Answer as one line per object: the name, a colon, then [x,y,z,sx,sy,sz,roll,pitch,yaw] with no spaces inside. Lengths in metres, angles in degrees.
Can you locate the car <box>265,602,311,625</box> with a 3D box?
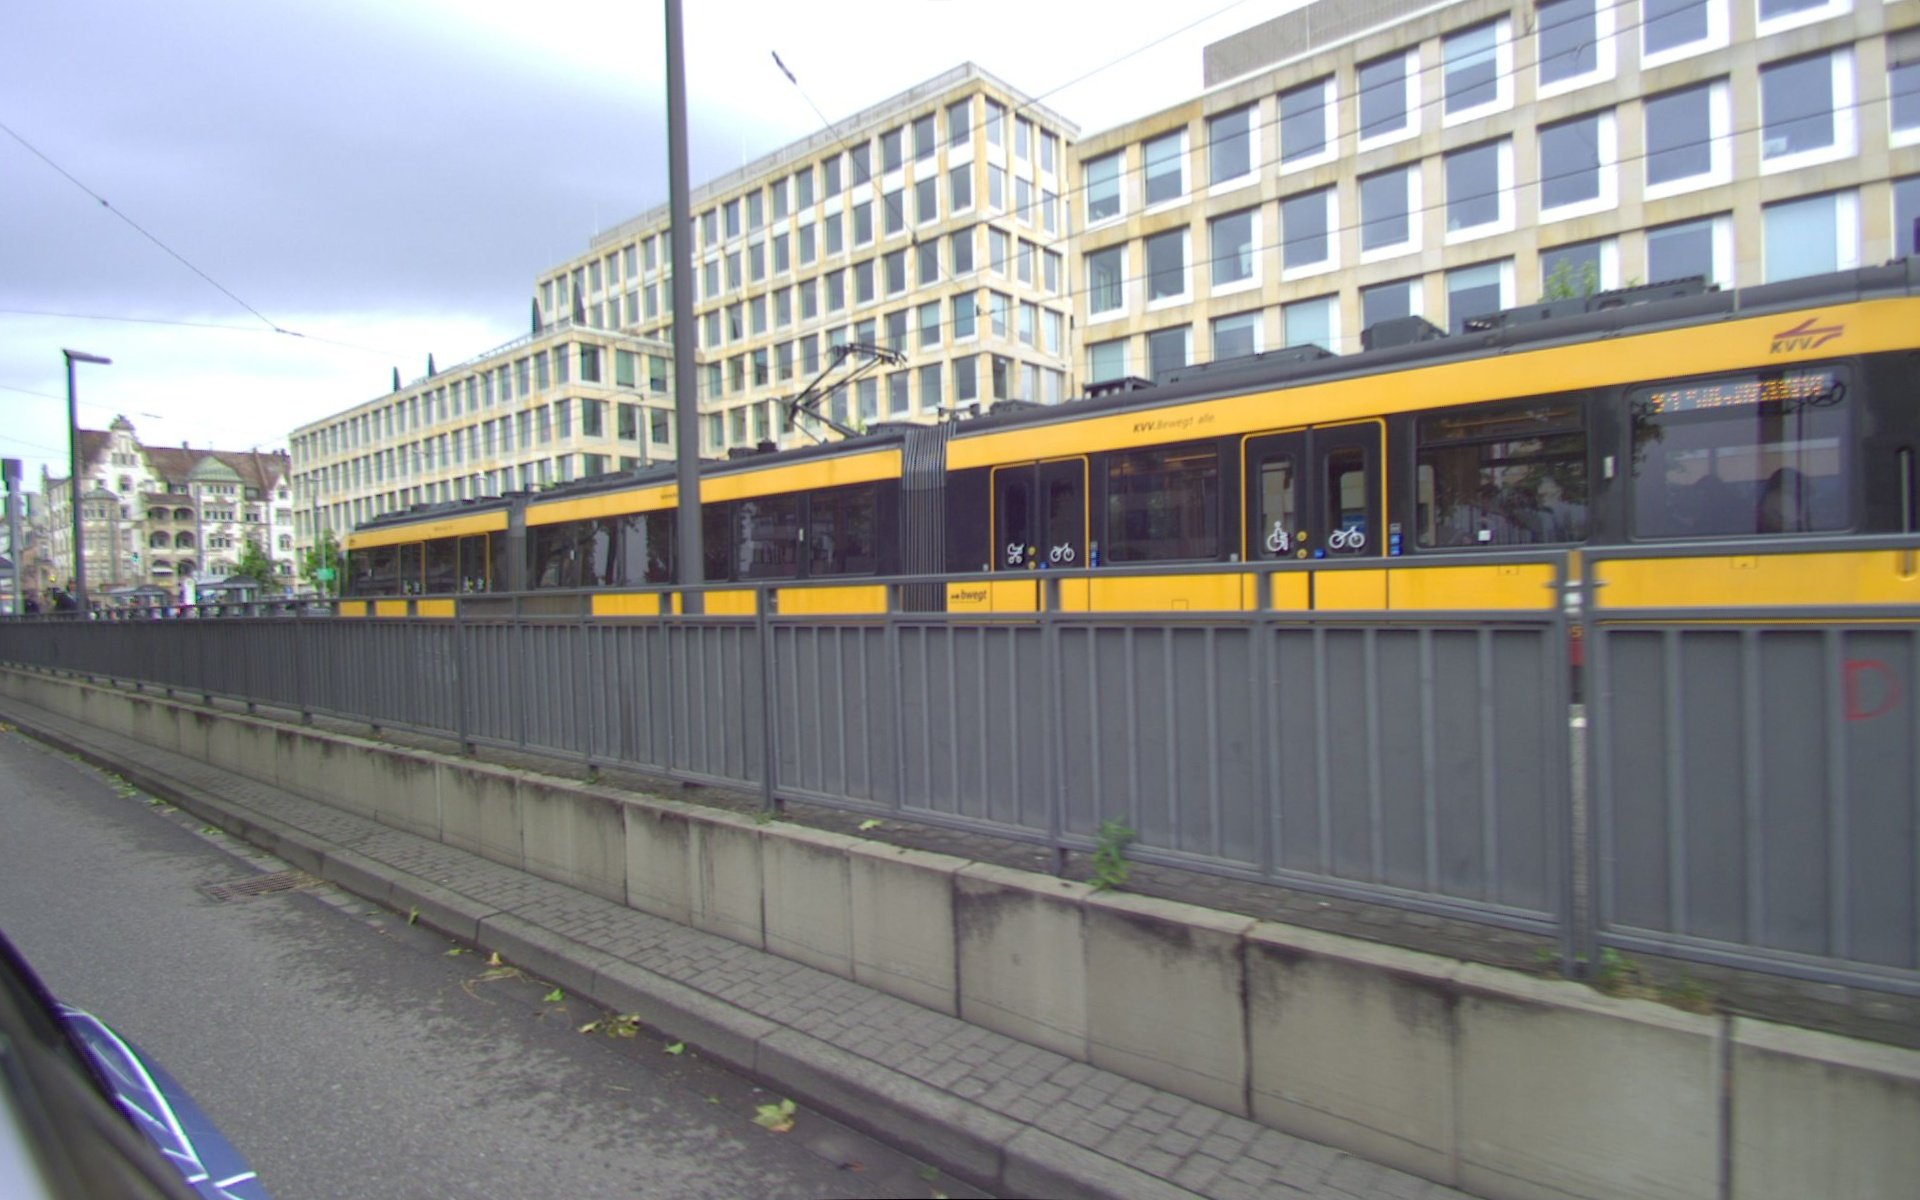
car: [-51.662,1.008,77.770,4.000,1.674,1.972,0,1,43]

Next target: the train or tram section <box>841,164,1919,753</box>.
train or tram section: [4.460,-1.016,11.440,13.613,4.210,3.148,0,1,41]

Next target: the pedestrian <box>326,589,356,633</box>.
pedestrian: [-25.725,0.459,42.063,1.159,1.809,0.704,-1,1,39]

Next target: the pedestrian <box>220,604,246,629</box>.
pedestrian: [-41.043,0.922,57.148,0.939,1.382,1.027,-1,1,43]

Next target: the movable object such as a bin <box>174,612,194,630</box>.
movable object such as a bin: [-45.298,1.229,59.073,0.714,1.029,0.620,-1,1,7]

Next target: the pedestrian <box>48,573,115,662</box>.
pedestrian: [-20.815,0.393,23.979,0.839,2.029,1.048,-1,1,40]

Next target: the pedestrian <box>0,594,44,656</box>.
pedestrian: [-27.862,0.729,30.051,1.109,1.807,0.665,-1,1,32]

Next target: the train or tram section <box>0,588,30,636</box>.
train or tram section: [-80.846,1.013,84.497,13.508,3.719,2.826,-1,1,40]

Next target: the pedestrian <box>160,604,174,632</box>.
pedestrian: [-46.633,1.074,59.512,0.529,1.619,0.566,-2,1,-43]

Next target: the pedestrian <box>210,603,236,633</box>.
pedestrian: [-42.413,1.010,58.213,0.939,1.699,1.027,-1,1,43]

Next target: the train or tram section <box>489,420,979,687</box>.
train or tram section: [-4.996,-0.686,19.657,11.305,3.891,3.131,0,1,41]

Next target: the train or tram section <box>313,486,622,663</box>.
train or tram section: [-13.568,-0.558,27.111,11.305,3.891,3.204,0,1,41]

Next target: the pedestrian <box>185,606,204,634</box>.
pedestrian: [-45.109,1.165,59.660,0.649,1.619,0.578,-1,1,7]

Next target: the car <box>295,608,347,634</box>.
car: [-43.785,1.412,69.302,4.000,1.674,1.972,0,1,43]

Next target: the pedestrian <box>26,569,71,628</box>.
pedestrian: [-28.348,-0.044,31.461,1.108,1.807,0.666,-1,1,28]
